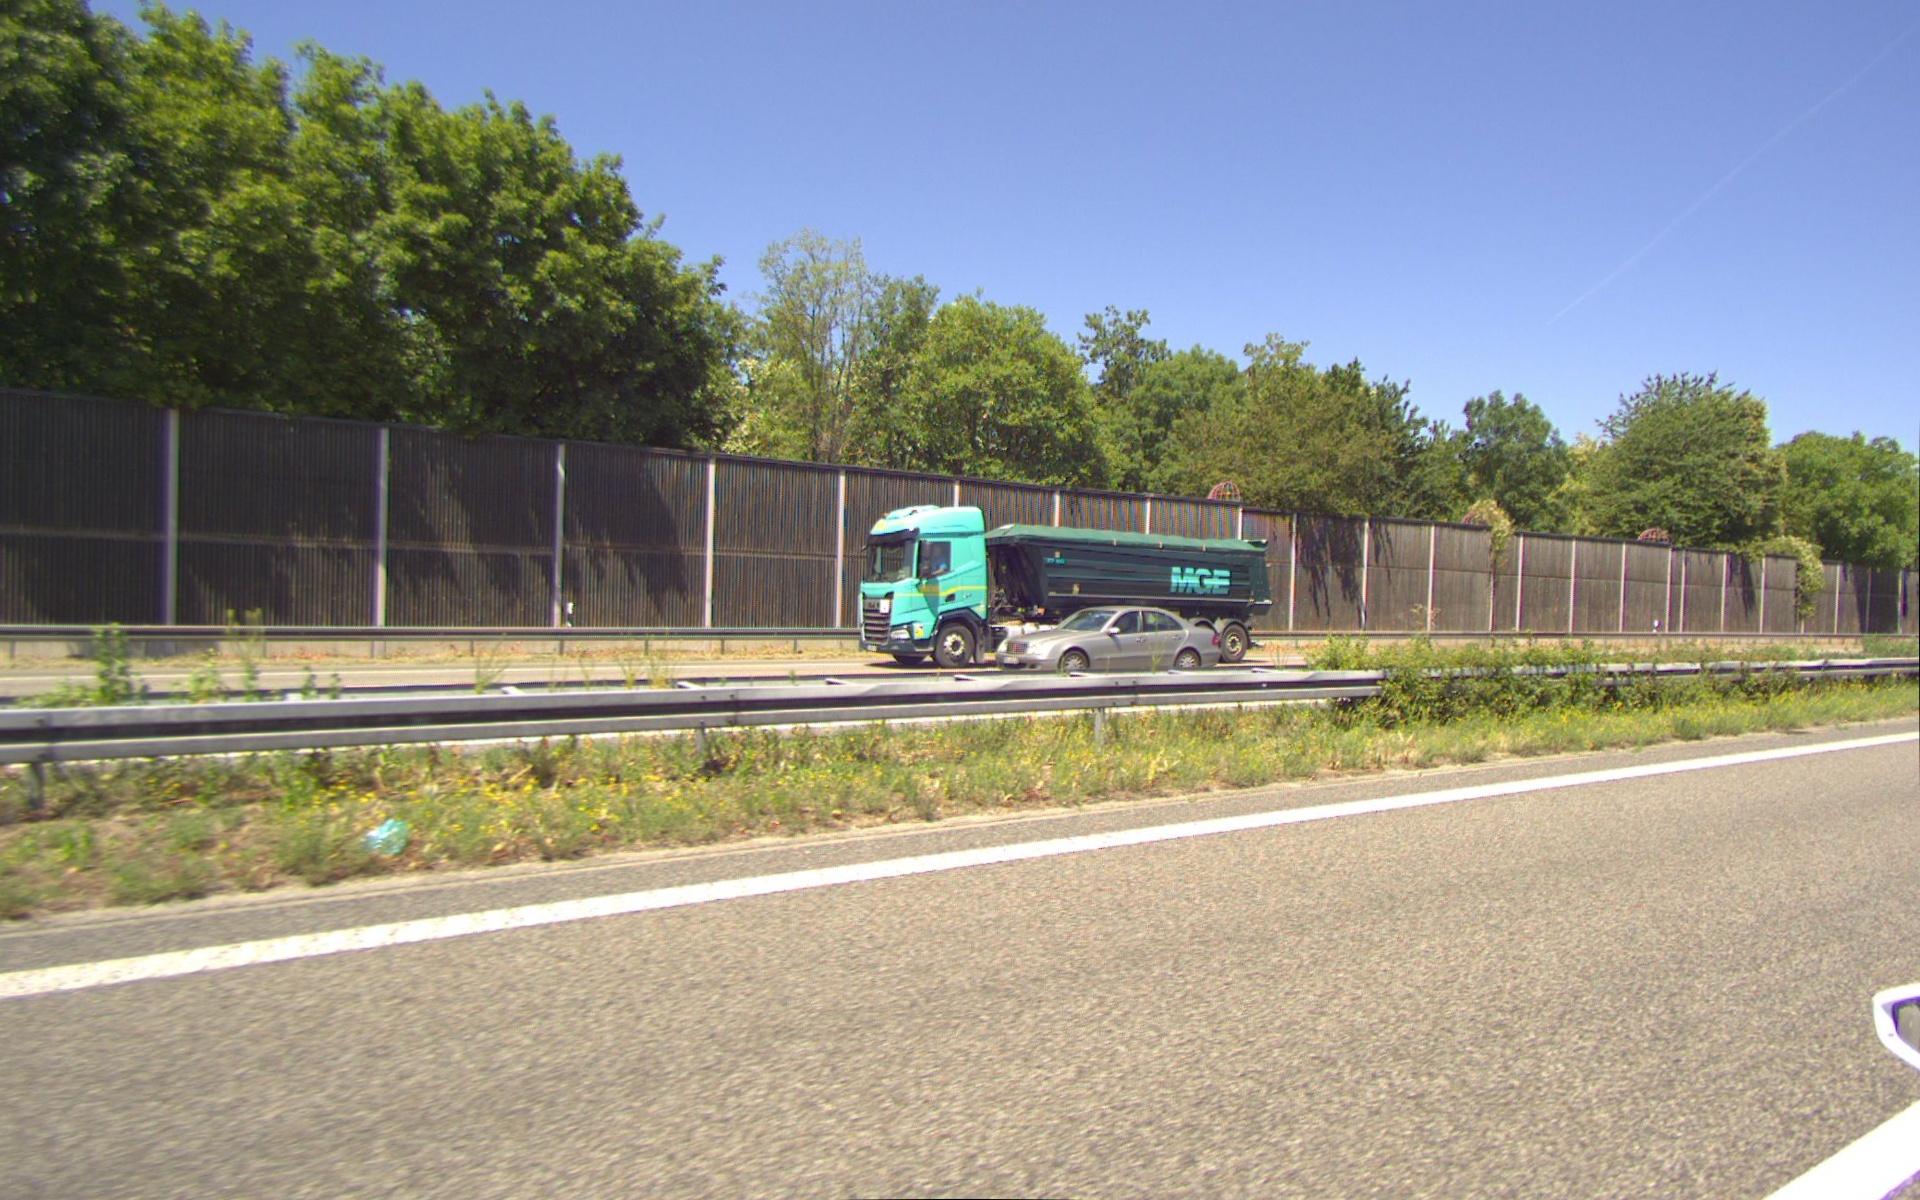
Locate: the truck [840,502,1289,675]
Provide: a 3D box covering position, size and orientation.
[{"bbox_3d":[3.128,-0.131,26.100,12.227,3.724,3.074,1,0,-31],"label":"truck"}]

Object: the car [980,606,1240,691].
[{"bbox_3d":[2.997,0.898,19.685,5.027,1.460,1.855,1,0,-31],"label":"car"}]
